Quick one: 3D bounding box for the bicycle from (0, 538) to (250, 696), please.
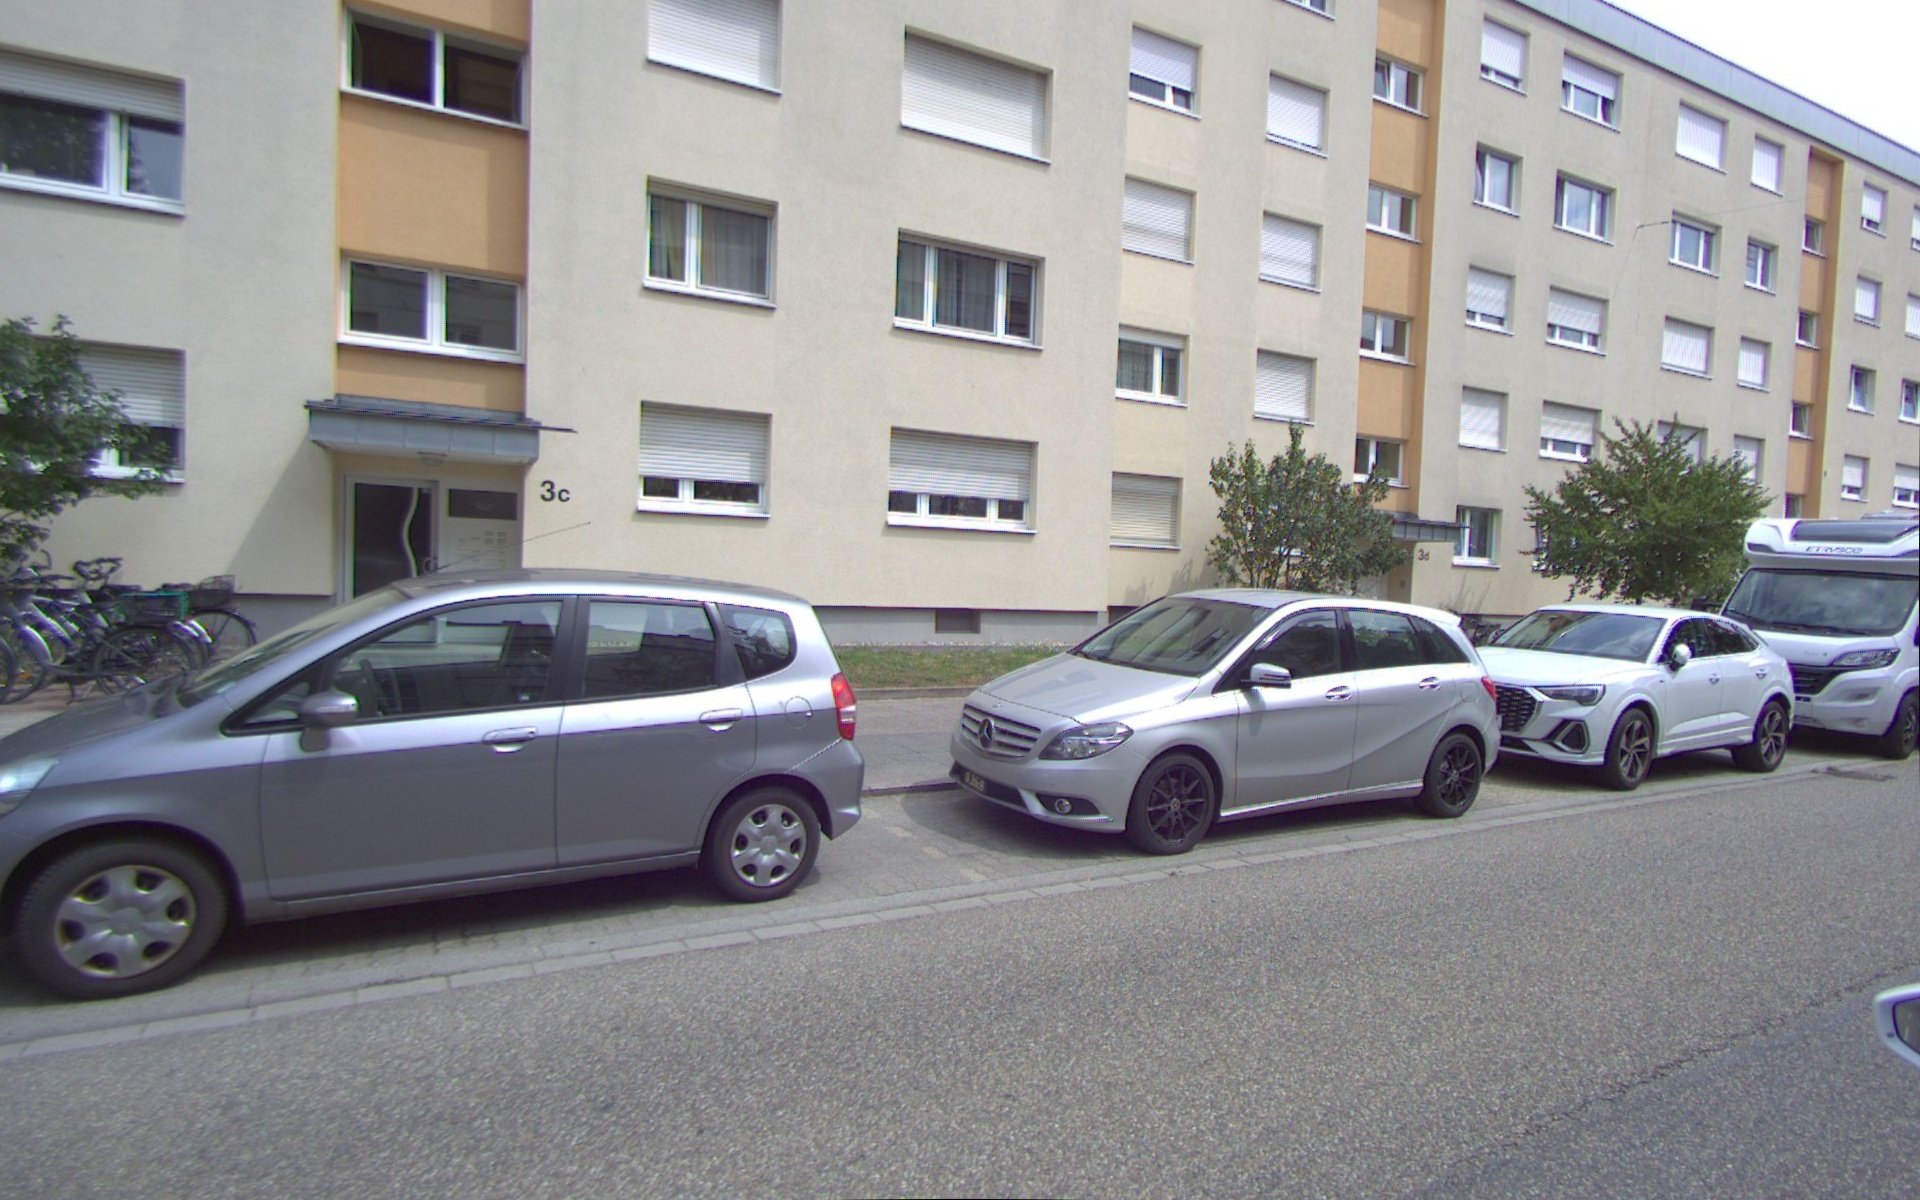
[{"bbox_3d":[-8.164,0.149,9.670,2.102,1.444,0.460,0,2,-28],"label":"bicycle"}]

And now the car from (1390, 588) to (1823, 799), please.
[{"bbox_3d":[6.437,0.775,9.862,4.541,1.601,1.680,1,3,-31],"label":"car"}]

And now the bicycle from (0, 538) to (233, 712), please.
[{"bbox_3d":[-7.604,0.198,8.655,2.102,1.431,0.460,0,2,-28],"label":"bicycle"}]

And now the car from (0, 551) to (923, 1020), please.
[{"bbox_3d":[-2.322,0.588,4.852,3.959,1.560,1.713,0,2,-32],"label":"car"}]

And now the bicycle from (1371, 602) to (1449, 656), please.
[{"bbox_3d":[8.651,0.536,19.295,1.656,0.992,0.395,0,2,-27],"label":"bicycle"}]

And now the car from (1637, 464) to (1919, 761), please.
[{"bbox_3d":[12.293,0.126,13.331,7.311,3.065,2.497,1,3,-31],"label":"car"}]

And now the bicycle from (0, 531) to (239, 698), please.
[{"bbox_3d":[-7.893,0.121,9.143,2.102,1.444,0.460,0,2,-28],"label":"bicycle"}]

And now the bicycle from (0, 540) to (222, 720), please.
[{"bbox_3d":[-7.351,0.227,8.175,2.102,1.412,0.460,0,2,-27],"label":"bicycle"}]

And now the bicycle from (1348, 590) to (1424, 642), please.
[{"bbox_3d":[8.407,0.304,19.798,1.663,0.992,0.395,0,2,-27],"label":"bicycle"}]

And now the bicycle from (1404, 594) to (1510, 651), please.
[{"bbox_3d":[9.129,0.390,18.410,2.416,0.993,0.450,0,2,-30],"label":"bicycle"}]

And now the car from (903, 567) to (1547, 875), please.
[{"bbox_3d":[2.015,0.667,7.241,4.513,1.601,1.746,1,3,-30],"label":"car"}]

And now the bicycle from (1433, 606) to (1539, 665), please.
[{"bbox_3d":[9.418,0.610,17.943,2.416,0.993,0.450,0,2,-30],"label":"bicycle"}]

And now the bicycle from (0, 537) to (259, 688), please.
[{"bbox_3d":[-8.444,0.117,10.218,2.102,1.444,0.460,0,2,-28],"label":"bicycle"}]
